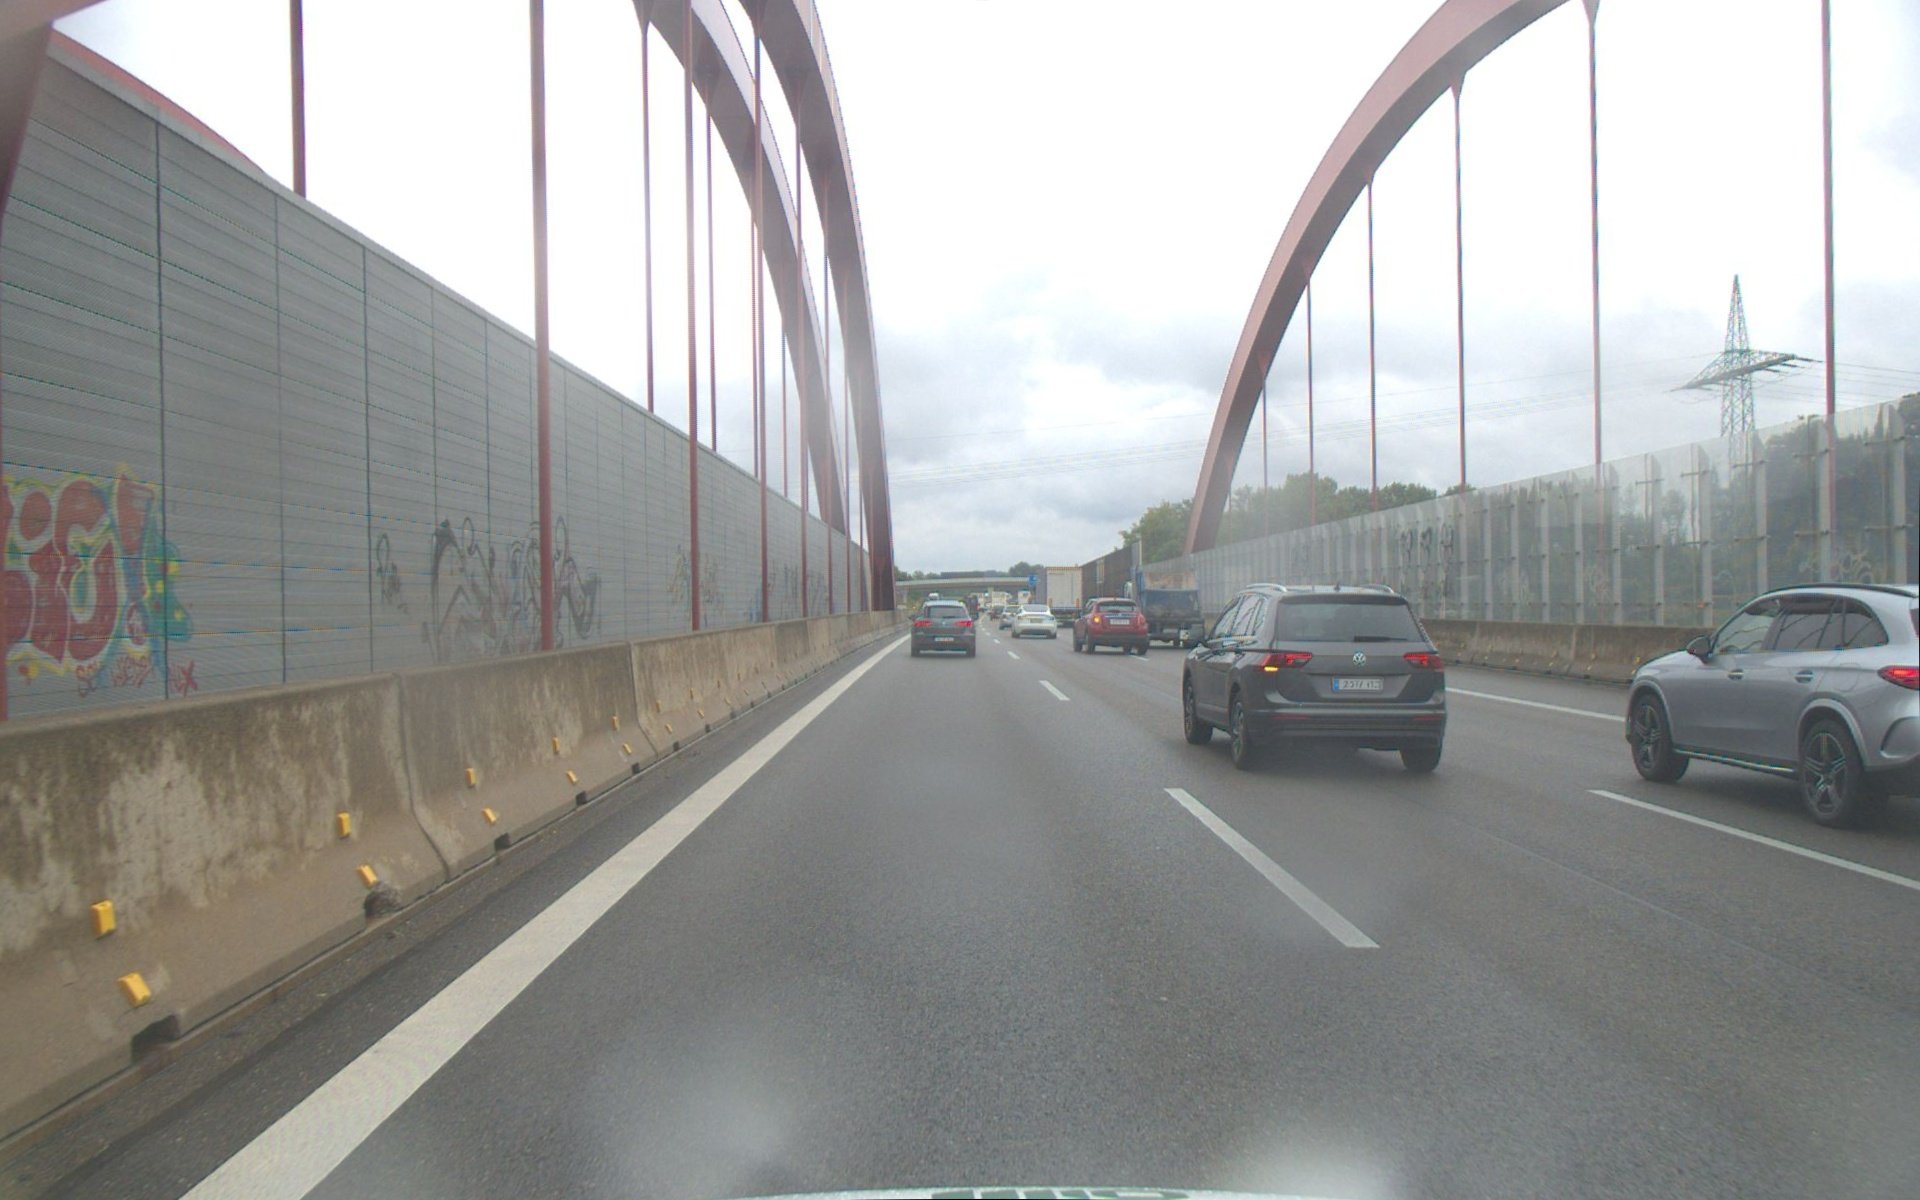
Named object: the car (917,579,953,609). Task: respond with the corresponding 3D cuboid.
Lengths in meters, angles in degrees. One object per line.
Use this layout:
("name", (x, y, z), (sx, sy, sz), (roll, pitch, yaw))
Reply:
("car", (-1.414, -0.352, 92.319), (1.953, 1.612, 3.998), (-1, 0, -2))

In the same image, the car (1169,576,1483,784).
("car", (3.272, 0.665, 15.625), (1.874, 1.699, 4.101), (0, 0, -3))

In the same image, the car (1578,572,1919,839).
("car", (6.827, 0.659, 12.829), (1.953, 1.647, 5.326), (0, 0, -2))

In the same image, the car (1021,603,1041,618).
("car", (7.413, 1.079, 173.259), (1.952, 1.545, 4.000), (0, 0, 0))

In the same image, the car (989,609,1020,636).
("car", (2.630, 1.317, 98.465), (1.668, 1.570, 3.837), (0, 0, -2))

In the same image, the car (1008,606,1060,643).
("car", (3.147, 1.040, 71.213), (1.953, 1.512, 3.999), (0, 0, -2))

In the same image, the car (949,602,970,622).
("car", (-0.022, 1.153, 158.944), (1.953, 1.847, 3.999), (0, 0, -1))

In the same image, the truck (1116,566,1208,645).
("truck", (6.833, 0.187, 56.725), (2.313, 2.550, 6.142), (0, 0, -1))

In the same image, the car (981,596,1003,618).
("car", (3.018, 0.631, 158.217), (1.953, 2.049, 3.999), (1, 0, -1))

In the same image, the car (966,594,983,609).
("car", (1.692, 0.189, 194.605), (1.952, 1.652, 4.000), (0, 0, 1))

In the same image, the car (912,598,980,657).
("car", (-0.388, 0.709, 44.213), (1.728, 1.478, 3.999), (0, 0, -1))

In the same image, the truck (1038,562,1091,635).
("truck", (7.162, -0.057, 114.164), (2.982, 4.817, 7.678), (1, 0, -1))

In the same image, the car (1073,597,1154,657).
("car", (4.475, 0.758, 48.843), (1.918, 1.676, 3.999), (0, 0, -2))
